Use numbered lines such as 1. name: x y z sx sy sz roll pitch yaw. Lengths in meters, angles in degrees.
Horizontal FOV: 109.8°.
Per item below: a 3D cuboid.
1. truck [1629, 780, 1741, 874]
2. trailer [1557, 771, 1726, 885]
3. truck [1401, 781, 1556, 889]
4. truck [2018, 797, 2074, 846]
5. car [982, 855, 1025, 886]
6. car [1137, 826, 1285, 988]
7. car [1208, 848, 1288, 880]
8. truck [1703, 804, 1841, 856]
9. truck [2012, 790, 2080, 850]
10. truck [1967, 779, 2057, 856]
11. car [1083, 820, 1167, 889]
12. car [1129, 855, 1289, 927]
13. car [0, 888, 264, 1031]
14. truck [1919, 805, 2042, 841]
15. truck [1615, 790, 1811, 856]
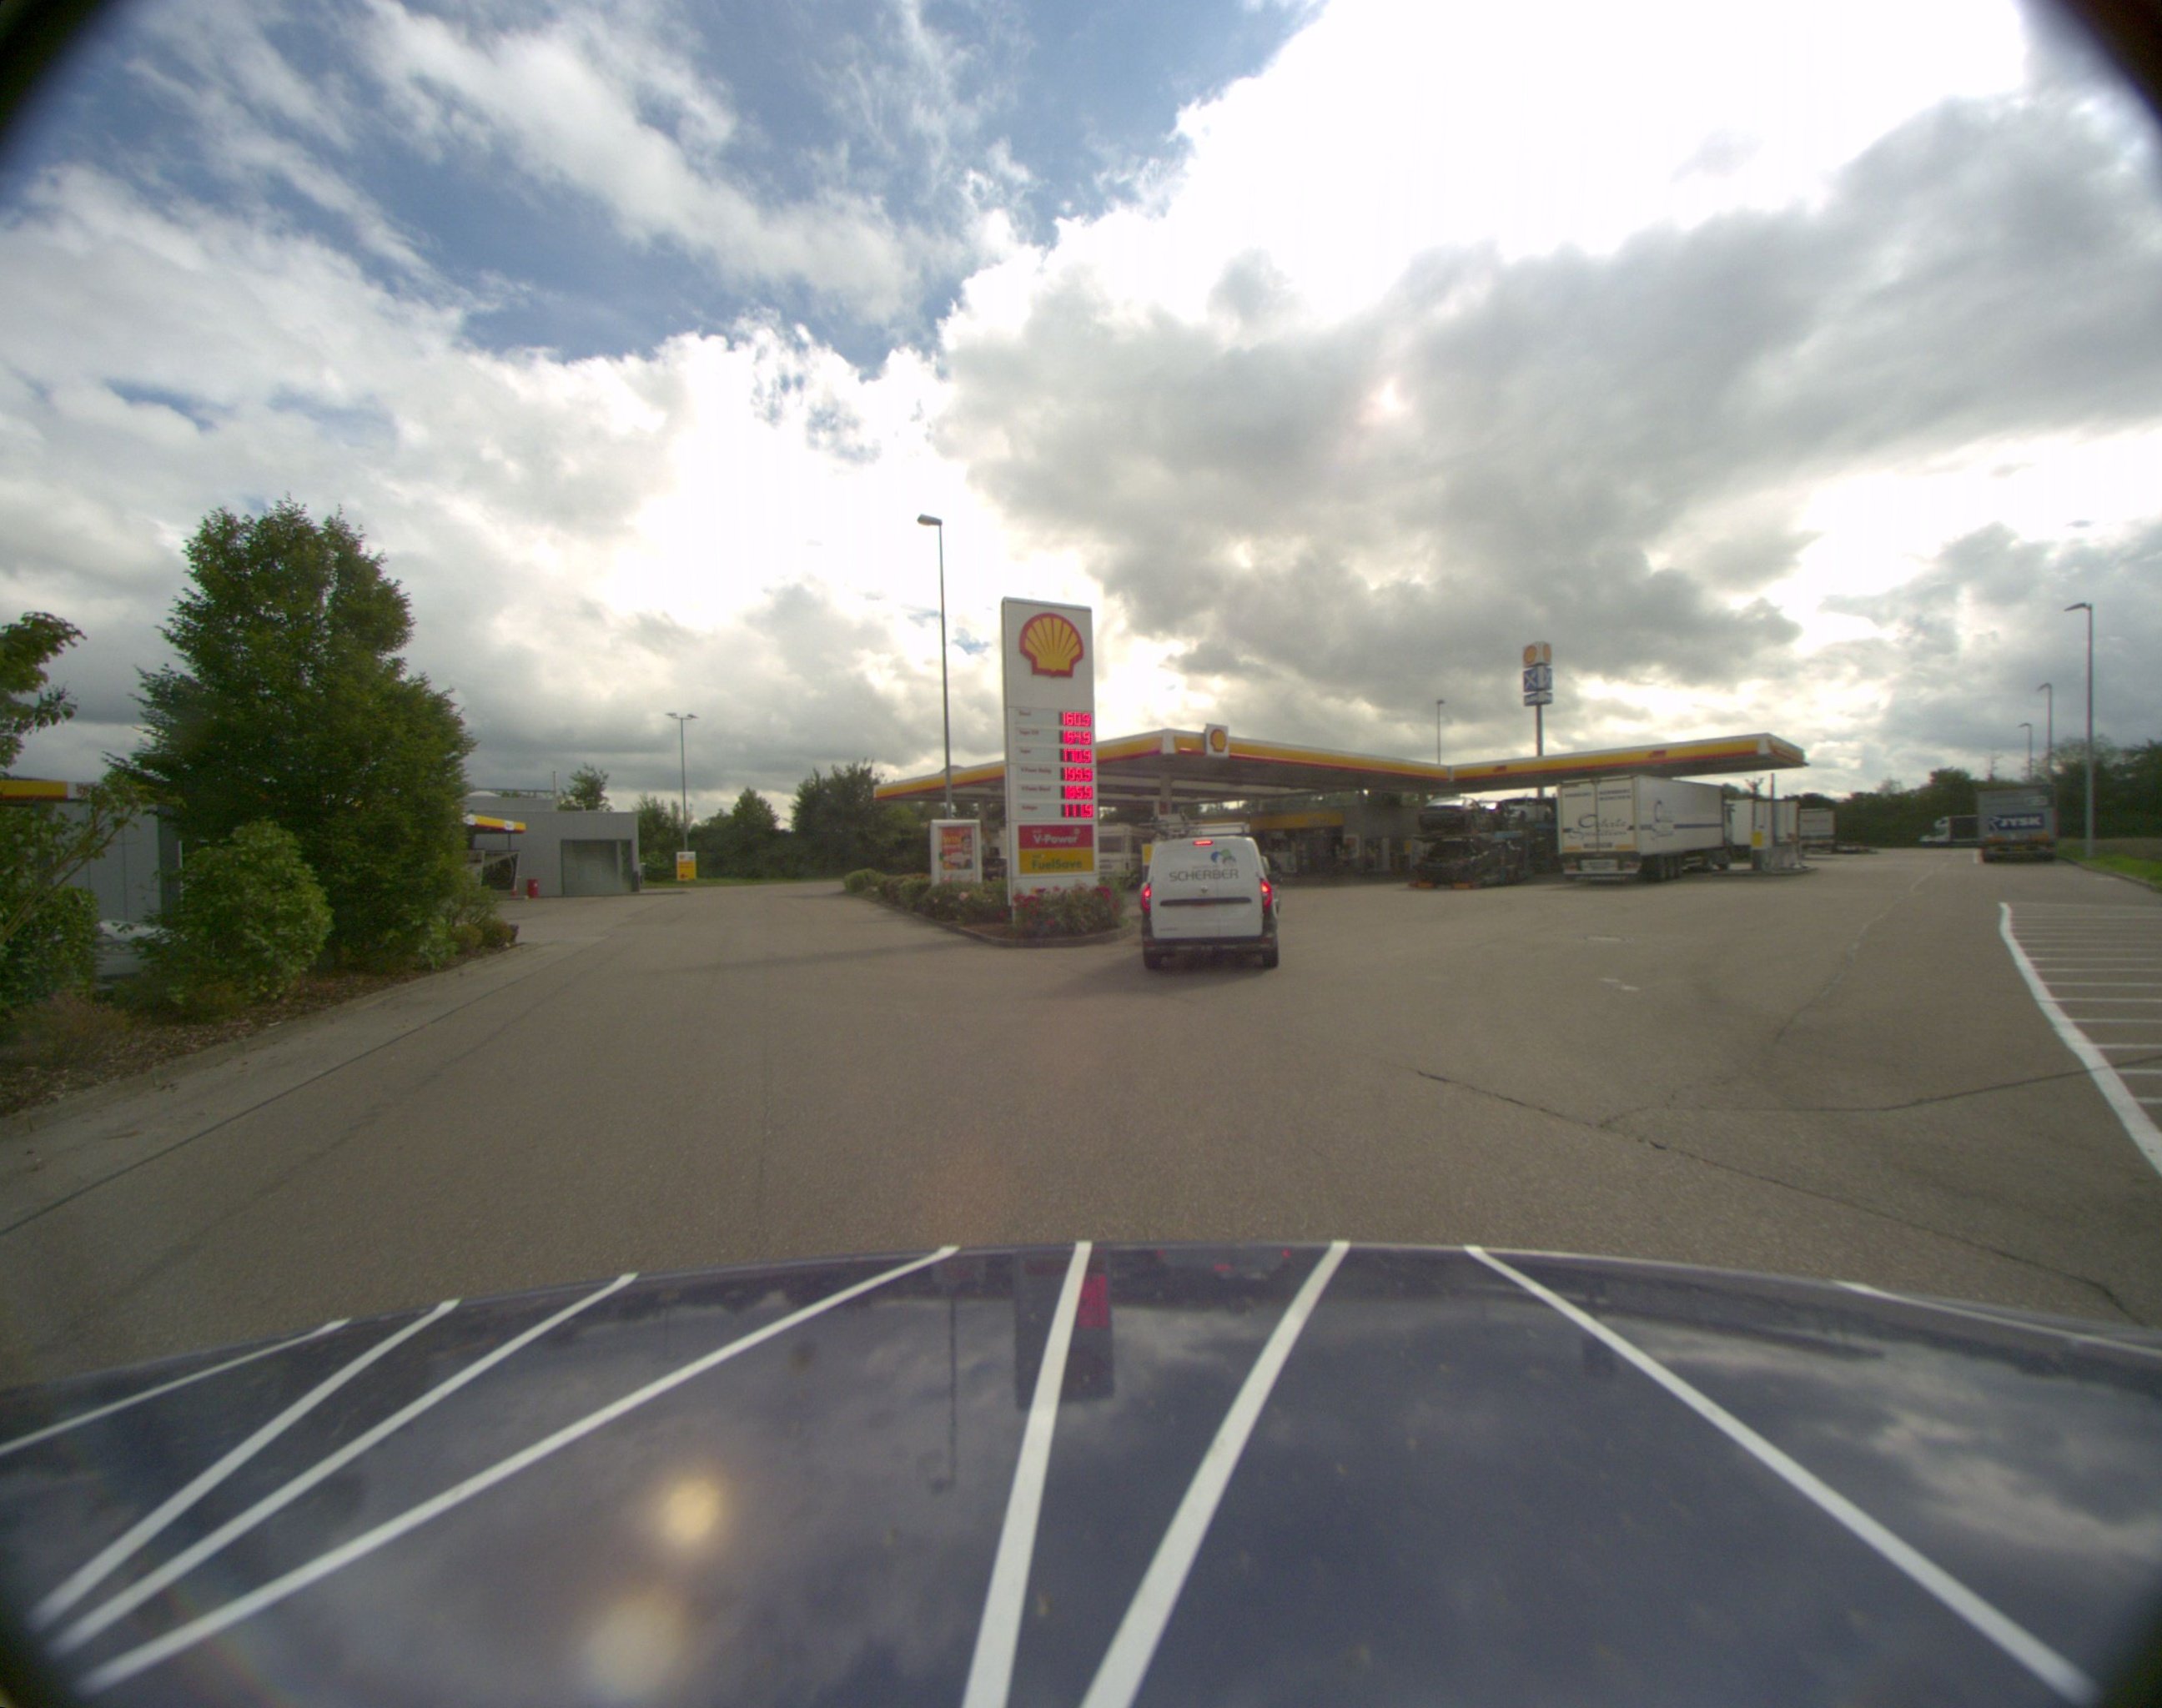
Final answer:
1. truck: 28.745 -1.216 36.027 7.182 4.001 2.705 -2 0 -40
2. trailer: 23.858 -1.030 31.870 12.872 4.001 2.705 -2 0 -40
3. truck: 17.818 -0.821 33.242 2.744 3.901 13.285 0 2 42
4. truck: 83.614 -2.782 65.773 12.832 3.871 2.816 -2 1 -38
5. car: -4.214 0.846 41.764 1.849 1.565 4.000 -2 0 1
6. car: 2.056 0.687 11.493 1.793 2.000 3.885 -2 0 13
7. car: 8.811 0.554 40.218 3.751 1.592 1.720 -2 0 44
8. truck: 59.774 -1.920 66.355 2.990 4.086 11.582 -2 0 9
9. truck: 70.675 -2.428 55.587 15.489 3.871 2.816 -2 1 -38
10. truck: 53.828 -2.005 43.760 15.489 3.871 2.816 -2 1 -38
11. car: 2.106 0.025 33.896 2.220 2.770 5.816 -2 0 18
12. car: 3.044 0.859 18.613 1.582 1.538 3.712 -2 0 -39
13. car: -12.412 1.174 8.627 3.886 1.427 1.723 -1 0 -19
14. truck: 96.222 -3.224 81.456 2.828 3.635 8.040 -2 1 -27
15. truck: 44.518 -2.036 54.703 2.960 4.089 14.752 -1 1 5
